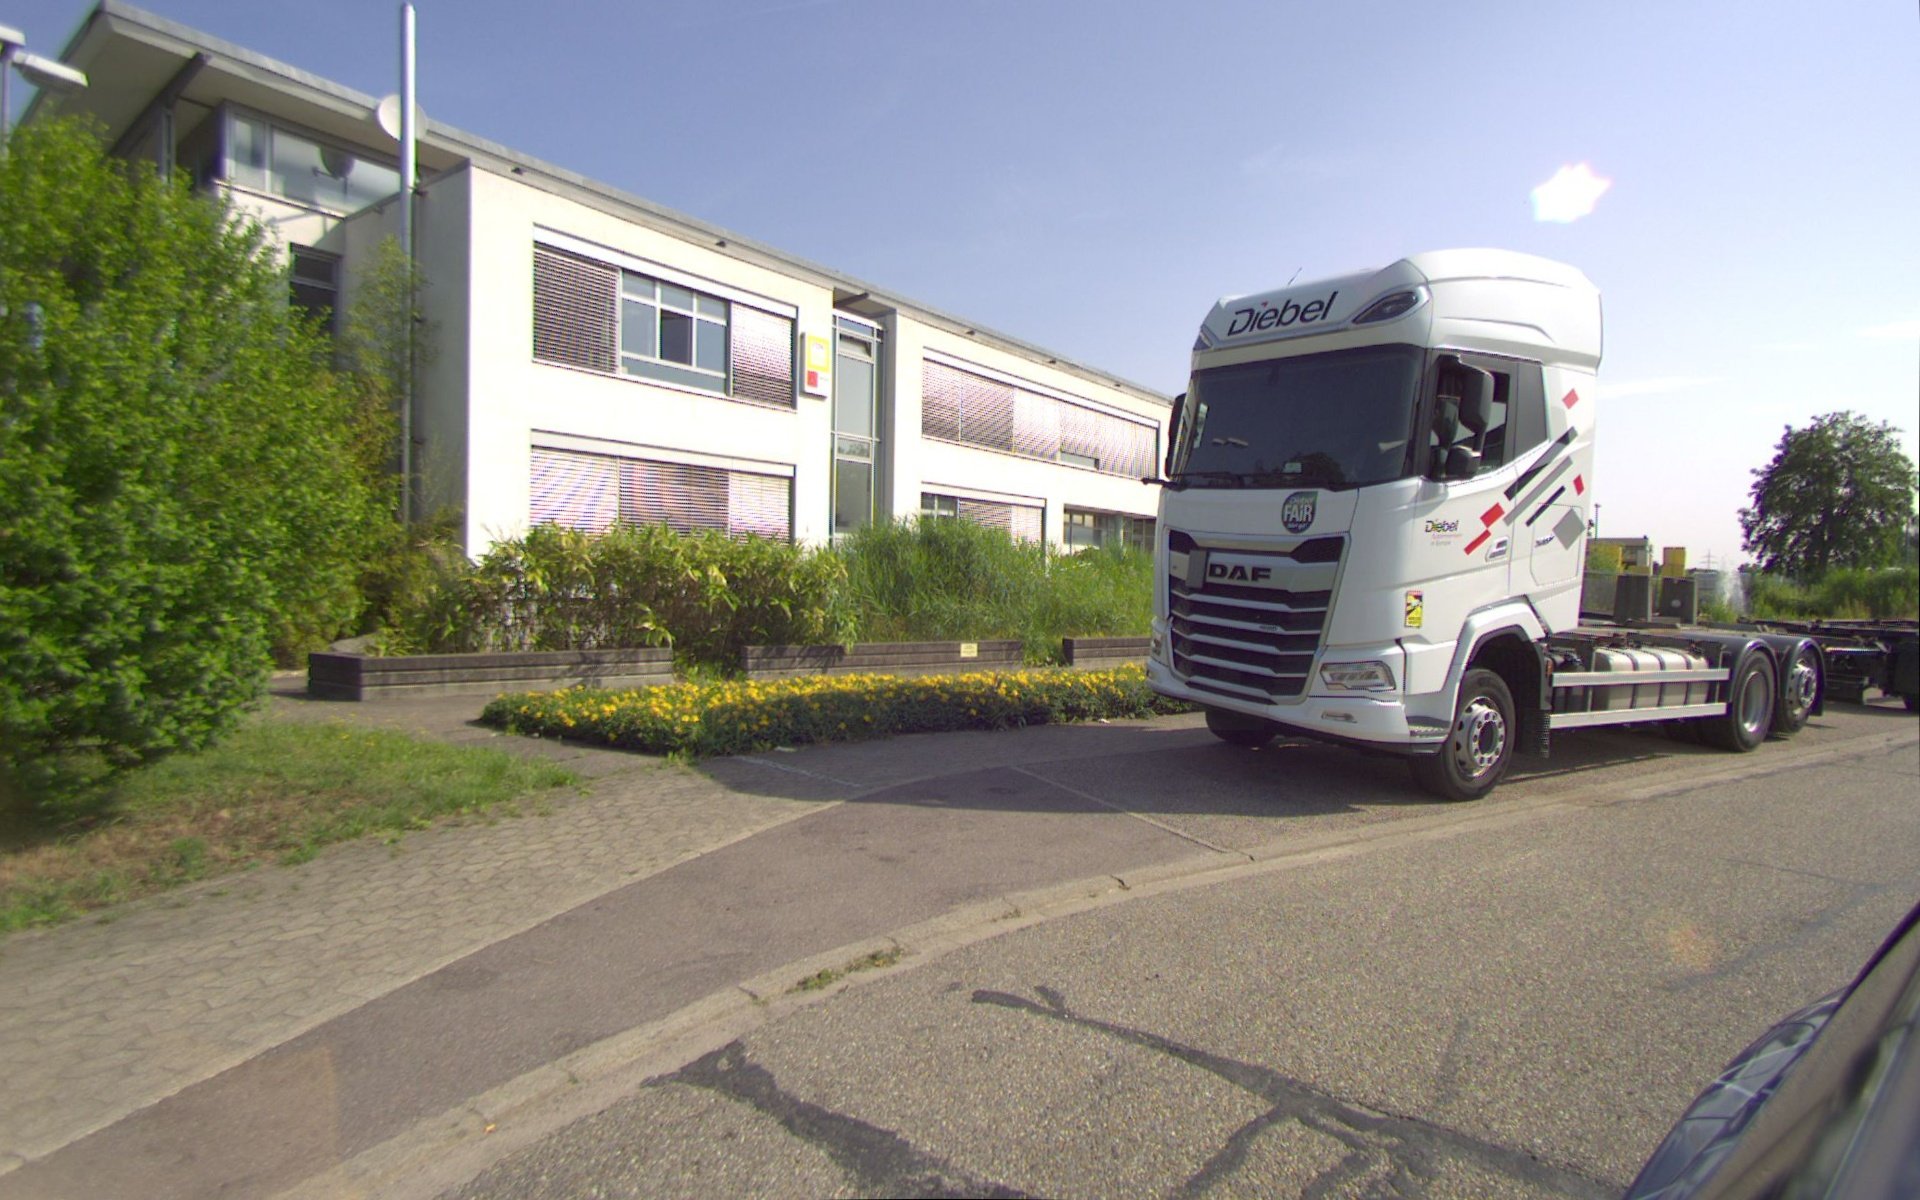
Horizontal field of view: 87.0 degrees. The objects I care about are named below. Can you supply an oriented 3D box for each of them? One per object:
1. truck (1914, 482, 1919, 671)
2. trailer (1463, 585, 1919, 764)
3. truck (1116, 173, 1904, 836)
[{"bbox_3d":[23.287,-0.621,20.708,10.372,3.988,3.048,0,2,-33],"label":"truck"},{"bbox_3d":[12.042,0.584,13.640,13.859,1.408,2.558,-1,4,-32],"label":"trailer"},{"bbox_3d":[5.584,-0.676,9.509,8.413,4.029,2.564,-1,4,-32],"label":"truck"}]
